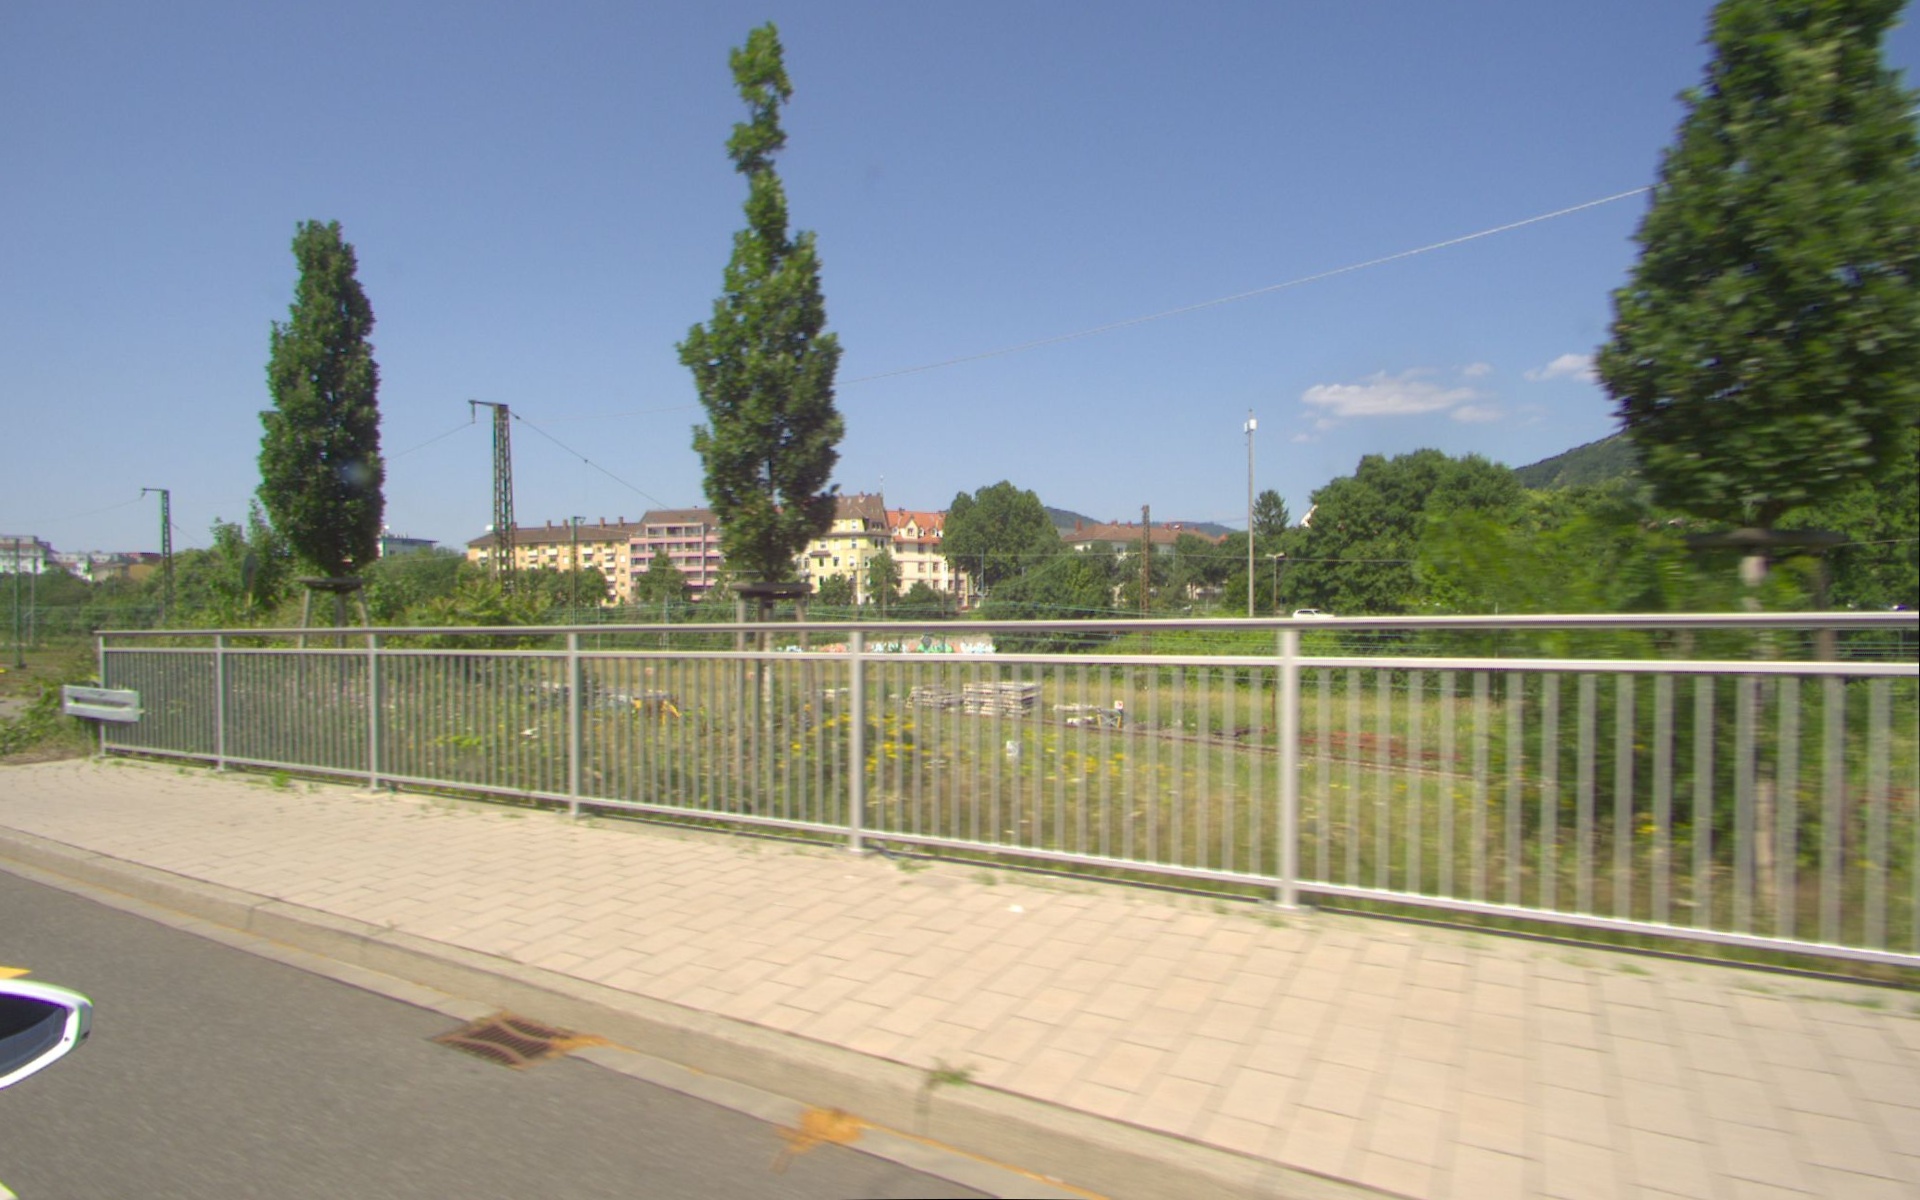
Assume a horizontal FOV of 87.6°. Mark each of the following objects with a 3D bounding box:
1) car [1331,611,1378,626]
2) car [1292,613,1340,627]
[{"bbox_3d":[36.921,1.744,93.869,1.758,1.385,3.822,0,-1,-31],"label":"car"},{"bbox_3d":[34.717,1.933,97.761,1.839,1.385,4.294,0,-1,-30],"label":"car"}]
